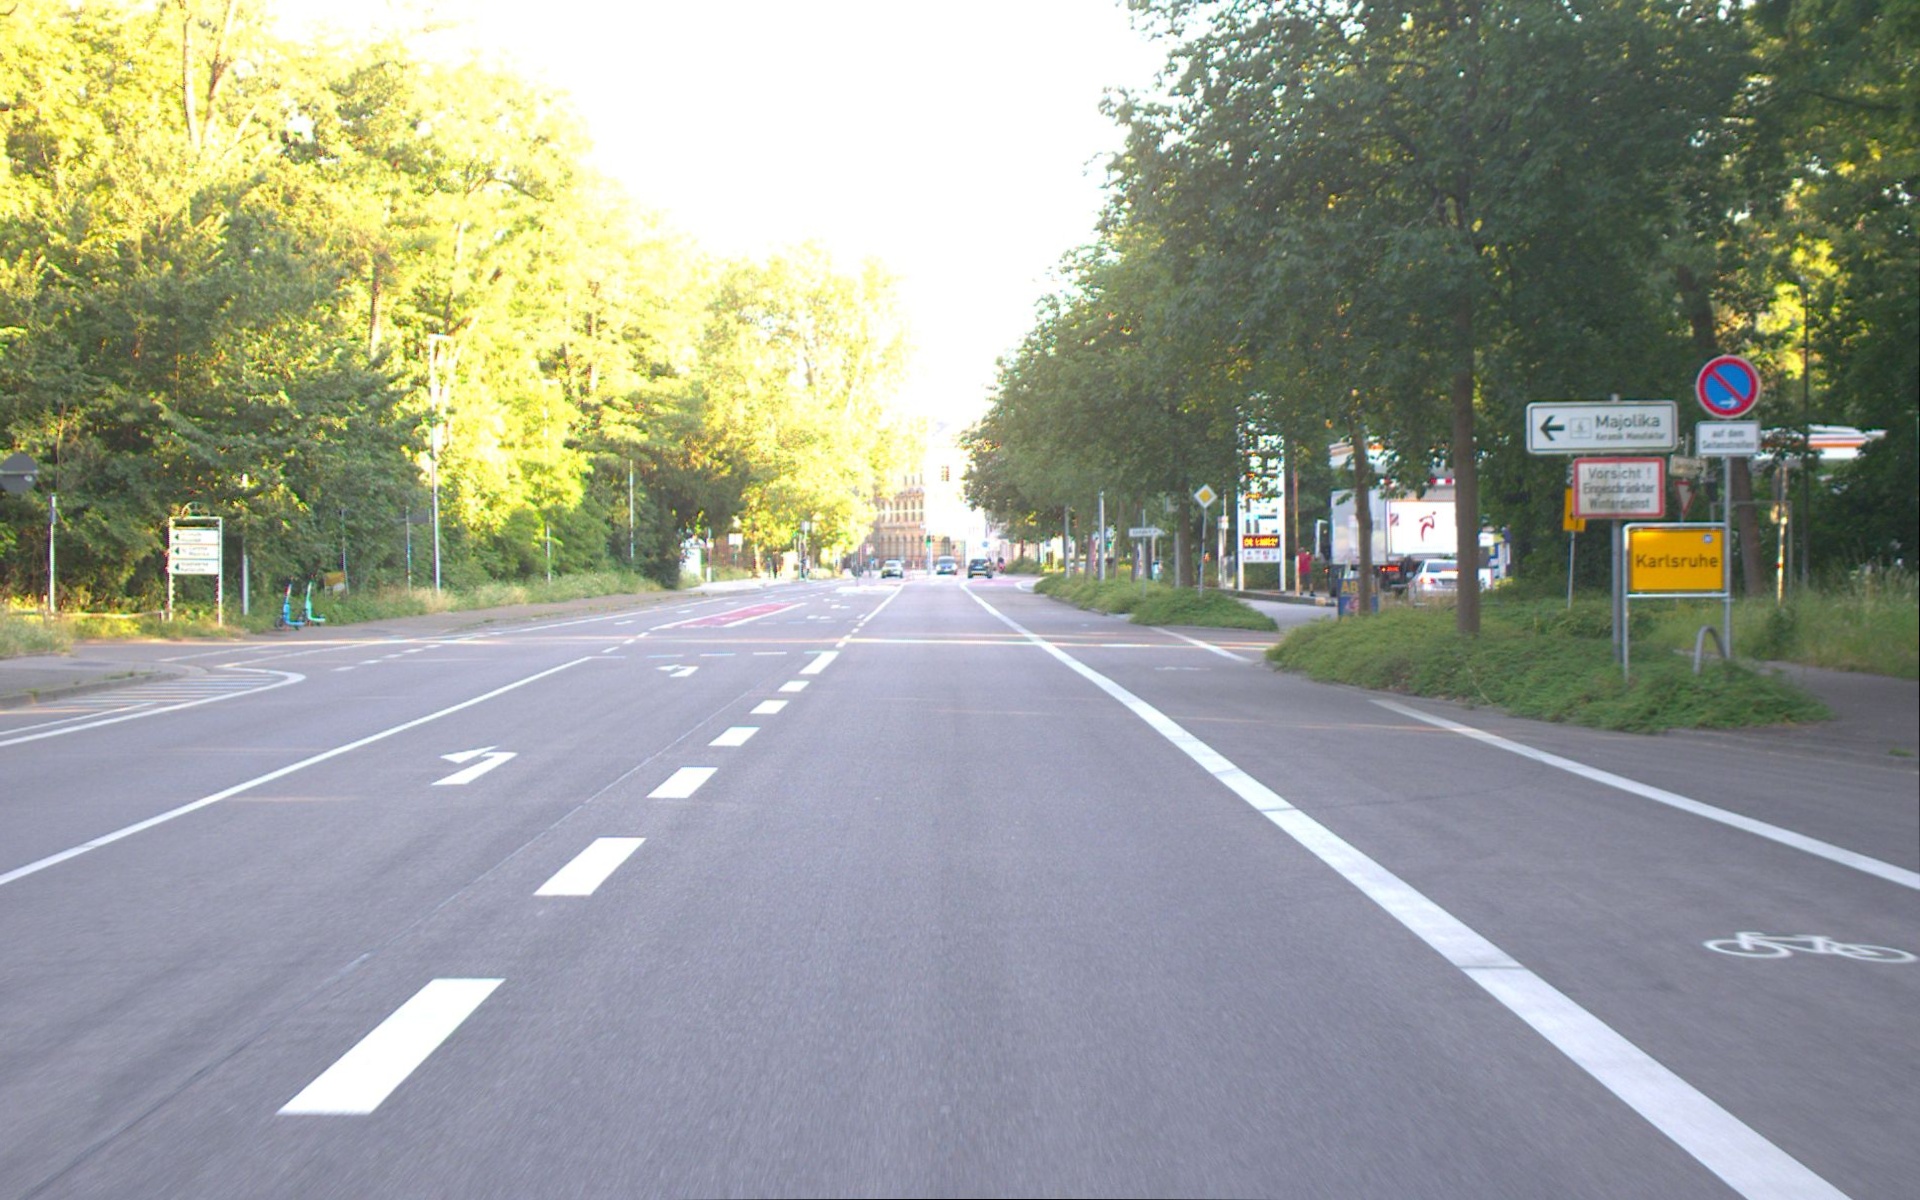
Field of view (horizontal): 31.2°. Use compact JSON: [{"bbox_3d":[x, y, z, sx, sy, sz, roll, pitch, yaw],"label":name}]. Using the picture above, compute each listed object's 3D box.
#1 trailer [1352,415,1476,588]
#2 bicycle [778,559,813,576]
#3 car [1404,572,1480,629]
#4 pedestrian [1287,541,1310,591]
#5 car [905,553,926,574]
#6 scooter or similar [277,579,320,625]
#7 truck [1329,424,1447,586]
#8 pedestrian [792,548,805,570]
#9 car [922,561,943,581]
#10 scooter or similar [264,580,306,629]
[{"bbox_3d":[14.785,-3.161,112.462,3.020,5.443,7.934,0,1,0],"label":"trailer"},{"bbox_3d":[-11.974,-2.382,250.468,2.463,1.191,0.757,0,0,10],"label":"bicycle"},{"bbox_3d":[14.005,-0.004,100.041,1.770,1.578,4.818,1,1,3],"label":"car"},{"bbox_3d":[12.071,-1.217,122.565,0.757,1.791,0.706,1,1,3],"label":"pedestrian"},{"bbox_3d":[-3.235,-2.636,250.352,1.493,1.481,3.491,-1,0,1],"label":"car"},{"bbox_3d":[-15.655,0.039,81.356,0.897,1.065,0.496,-1,1,-25],"label":"scooter or similar"},{"bbox_3d":[14.821,-3.259,119.658,3.033,5.437,8.410,0,1,0],"label":"truck"},{"bbox_3d":[-11.761,-2.969,250.462,0.791,1.575,0.745,1,1,9],"label":"pedestrian"},{"bbox_3d":[-2.103,-2.192,261.100,1.493,1.481,3.490,0,0,1],"label":"car"},{"bbox_3d":[-15.327,0.099,78.048,0.361,1.106,0.877,0,1,42],"label":"scooter or similar"}]
